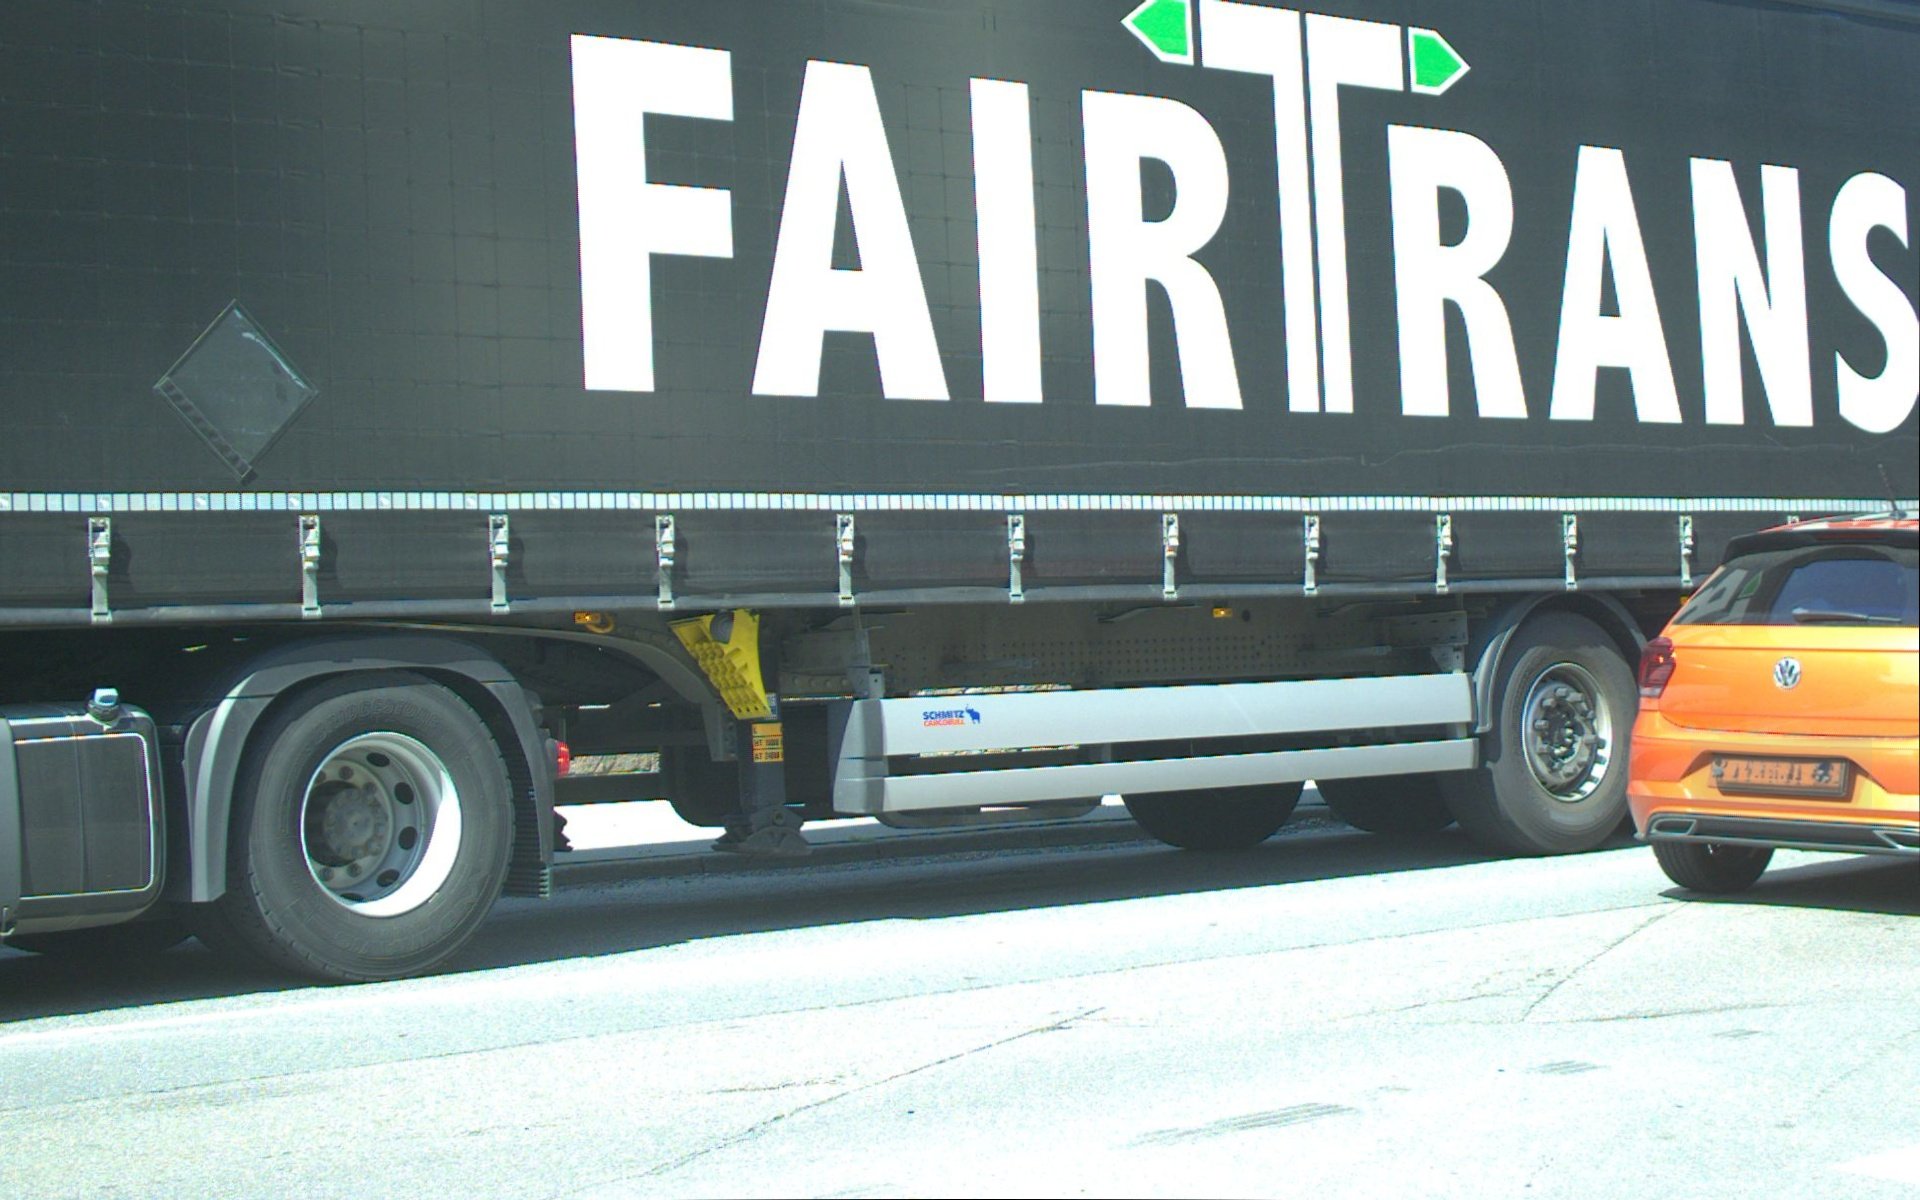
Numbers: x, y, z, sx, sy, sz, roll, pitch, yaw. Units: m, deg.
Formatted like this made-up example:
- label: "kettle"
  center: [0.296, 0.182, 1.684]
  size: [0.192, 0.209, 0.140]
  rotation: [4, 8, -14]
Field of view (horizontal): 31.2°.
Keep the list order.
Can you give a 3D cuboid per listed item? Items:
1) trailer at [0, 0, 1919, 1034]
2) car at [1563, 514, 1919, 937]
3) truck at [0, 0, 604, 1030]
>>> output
- label: "trailer"
  center: [0.802, -0.902, 14.918]
  size: [13.732, 4.090, 2.841]
  rotation: [-2, -1, -40]
- label: "car"
  center: [4.274, 0.368, 13.162]
  size: [4.007, 1.401, 1.730]
  rotation: [-2, 1, -41]
- label: "truck"
  center: [-4.428, -0.712, 10.549]
  size: [5.915, 4.057, 2.838]
  rotation: [-2, -1, -40]
